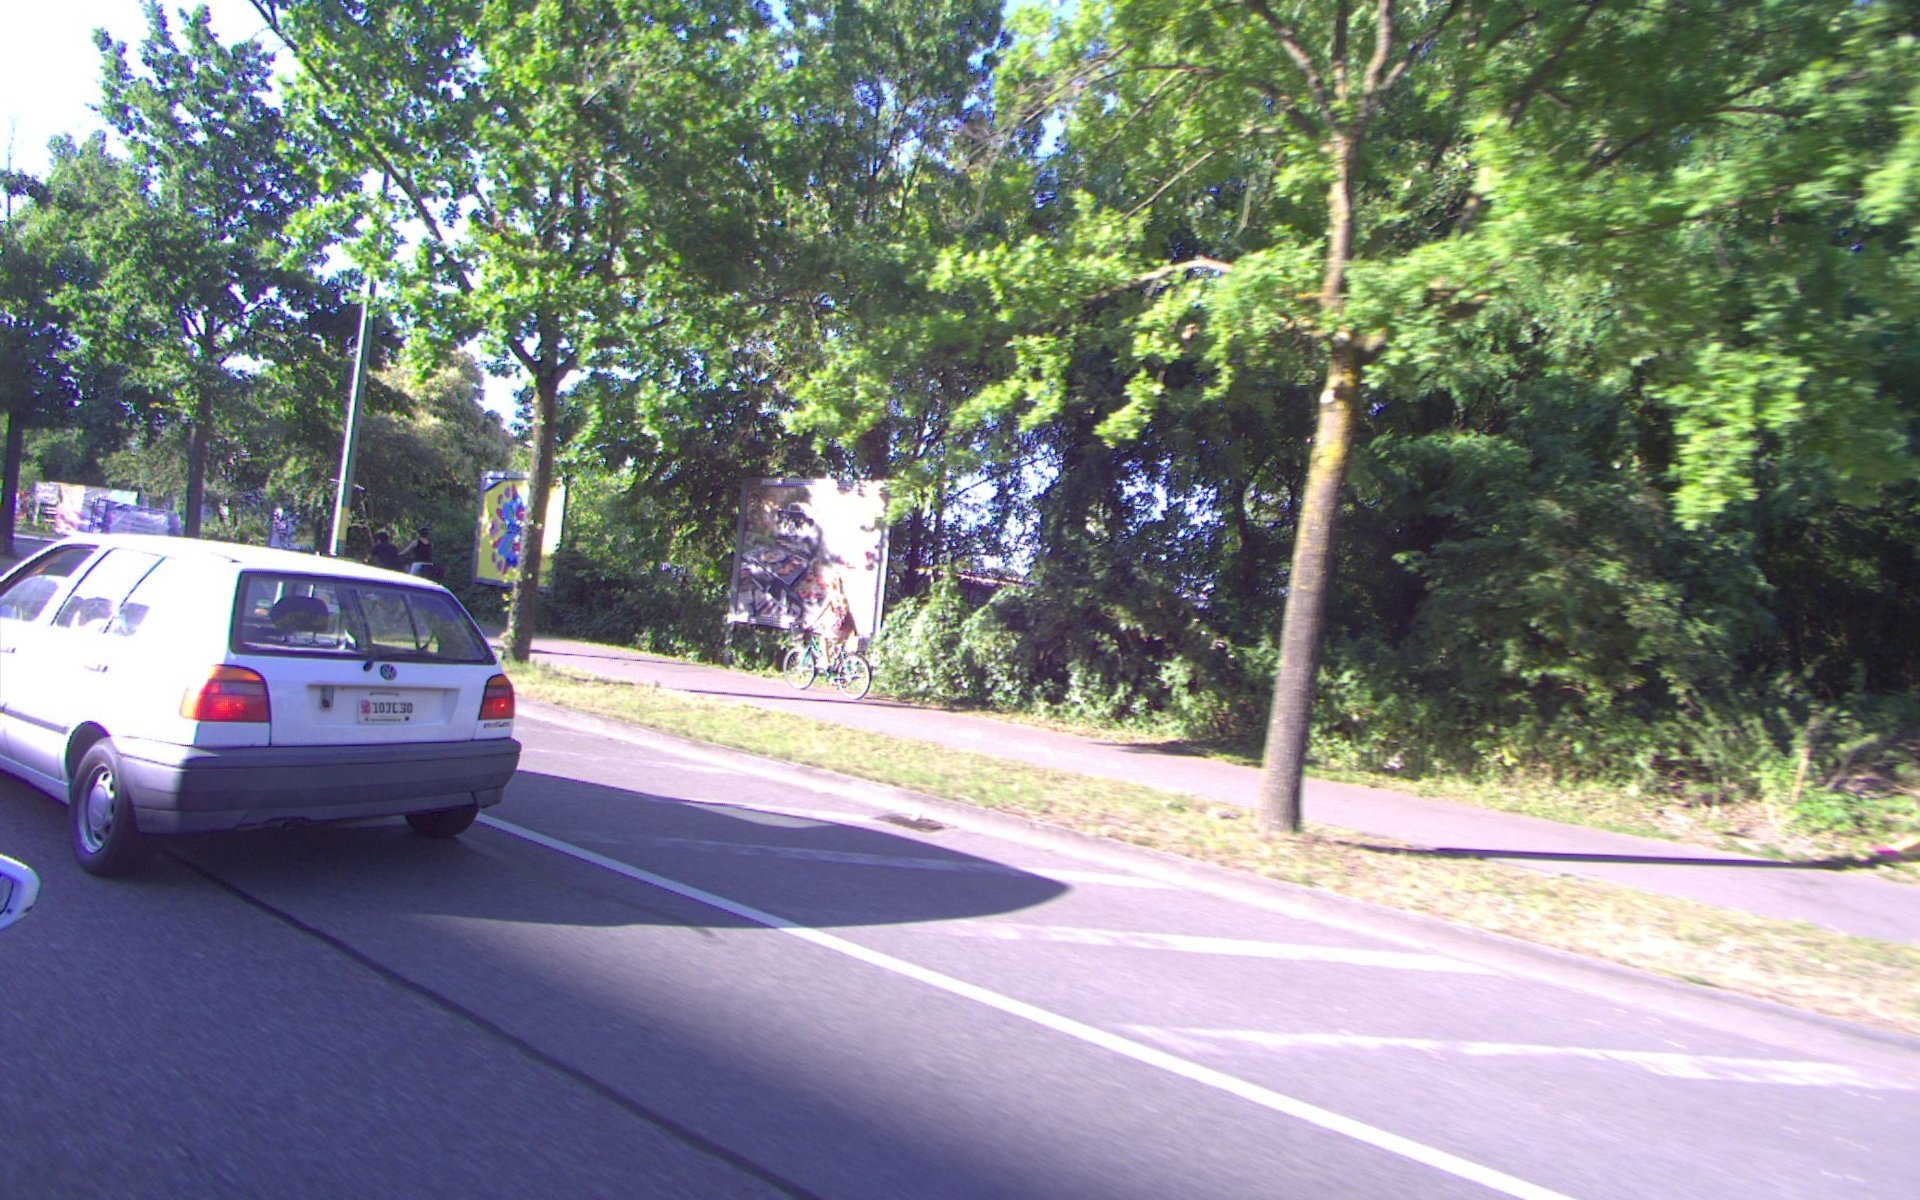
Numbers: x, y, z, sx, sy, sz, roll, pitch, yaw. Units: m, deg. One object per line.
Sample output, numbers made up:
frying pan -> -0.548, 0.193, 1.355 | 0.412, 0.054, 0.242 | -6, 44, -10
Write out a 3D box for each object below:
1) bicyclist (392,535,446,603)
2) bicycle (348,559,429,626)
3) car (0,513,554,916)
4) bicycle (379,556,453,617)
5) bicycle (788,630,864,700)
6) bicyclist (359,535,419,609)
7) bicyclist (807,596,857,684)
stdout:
bicyclist -> -11.579, -0.661, 21.527 | 0.822, 1.331, 0.544 | 5, -2, 32
bicycle -> -11.061, -0.154, 19.464 | 1.595, 1.125, 0.565 | 5, -2, 32
car -> -4.234, 0.379, 5.433 | 3.995, 1.429, 1.582 | 5, -3, 31
bicycle -> -11.650, -0.297, 21.539 | 1.595, 1.125, 0.565 | 5, -2, 32
bicycle -> -2.010, 0.960, 15.035 | 1.010, 0.926, 0.437 | 5, 1, 32
bicyclist -> -11.058, -0.547, 19.492 | 0.821, 1.331, 0.544 | 5, -2, 31
bicyclist -> -1.909, 0.599, 15.012 | 0.452, 1.248, 0.428 | 5, 0, 32
